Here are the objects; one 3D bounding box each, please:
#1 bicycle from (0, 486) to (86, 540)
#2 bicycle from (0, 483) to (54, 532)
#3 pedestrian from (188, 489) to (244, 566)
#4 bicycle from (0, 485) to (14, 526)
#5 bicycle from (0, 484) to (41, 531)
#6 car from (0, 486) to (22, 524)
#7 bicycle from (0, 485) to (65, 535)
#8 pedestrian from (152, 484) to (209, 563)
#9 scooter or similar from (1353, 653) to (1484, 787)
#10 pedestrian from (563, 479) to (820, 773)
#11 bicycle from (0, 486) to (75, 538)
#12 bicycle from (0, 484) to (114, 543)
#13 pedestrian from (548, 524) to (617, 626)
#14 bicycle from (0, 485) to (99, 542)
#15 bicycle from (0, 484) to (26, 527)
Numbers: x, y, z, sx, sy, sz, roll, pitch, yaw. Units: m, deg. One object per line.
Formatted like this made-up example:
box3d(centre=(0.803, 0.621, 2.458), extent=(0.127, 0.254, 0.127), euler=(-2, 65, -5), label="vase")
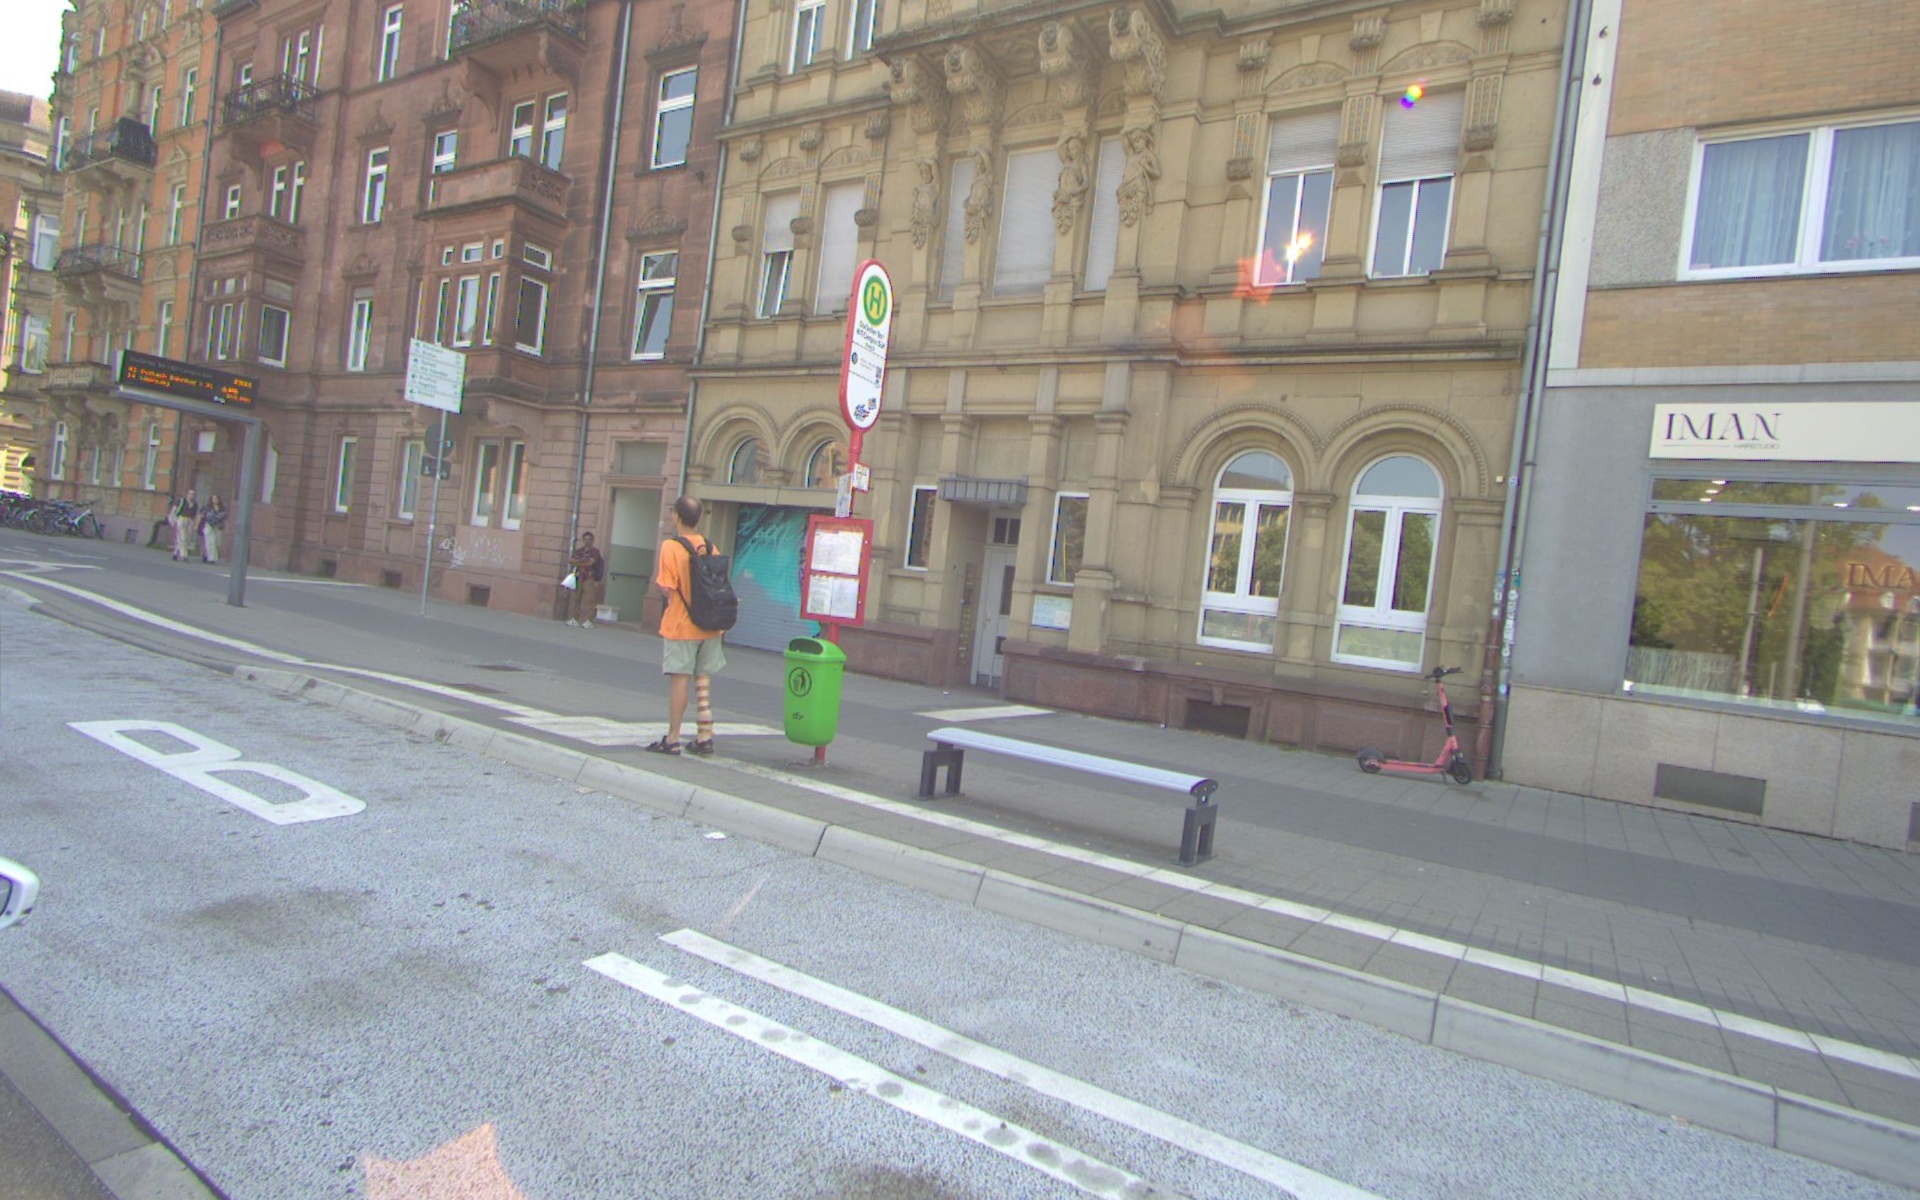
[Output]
box3d(centre=(-28.664, -2.707, 30.550), extent=(0.857, 1.388, 2.997), euler=(7, 0, 31), label="bicycle")
box3d(centre=(-31.113, -3.084, 32.129), extent=(0.932, 1.390, 3.007), euler=(7, 0, 31), label="bicycle")
box3d(centre=(-18.686, -1.817, 25.256), extent=(0.856, 1.800, 0.715), euler=(7, 1, 30), label="pedestrian")
box3d(centre=(-33.972, -3.389, 33.779), extent=(0.932, 1.390, 3.007), euler=(7, 0, 31), label="bicycle")
box3d(centre=(-31.975, -3.152, 32.621), extent=(0.932, 1.390, 3.007), euler=(7, 0, 31), label="bicycle")
box3d(centre=(-42.008, -4.233, 41.865), extent=(1.652, 1.539, 3.942), euler=(7, 0, 24), label="car")
box3d(centre=(-30.216, -2.933, 31.552), extent=(0.932, 1.390, 3.007), euler=(7, 0, 31), label="bicycle")
box3d(centre=(-19.105, -1.871, 24.660), extent=(0.833, 1.798, 0.715), euler=(7, 1, 31), label="pedestrian")
box3d(centre=(4.875, 1.253, 10.717), extent=(1.122, 1.228, 0.476), euler=(7, 1, 27), label="scooter or similar")
box3d(centre=(-1.816, 0.155, 6.794), extent=(1.221, 1.762, 0.963), euler=(7, 0, 39), label="pedestrian")
box3d(centre=(-29.437, -2.802, 31.062), extent=(0.857, 1.388, 2.997), euler=(7, 0, 31), label="bicycle")
box3d(centre=(-27.079, -2.577, 29.718), extent=(0.857, 1.388, 2.997), euler=(7, 0, 31), label="bicycle")
box3d(centre=(-7.040, -0.450, 18.819), extent=(0.729, 1.800, 0.870), euler=(7, 1, 4), label="pedestrian")
box3d(centre=(-27.884, -2.631, 30.110), extent=(0.857, 1.388, 2.997), euler=(7, 0, 31), label="bicycle")
box3d(centre=(-33.084, -3.315, 33.272), extent=(0.932, 1.390, 3.007), euler=(7, 0, 31), label="bicycle")
